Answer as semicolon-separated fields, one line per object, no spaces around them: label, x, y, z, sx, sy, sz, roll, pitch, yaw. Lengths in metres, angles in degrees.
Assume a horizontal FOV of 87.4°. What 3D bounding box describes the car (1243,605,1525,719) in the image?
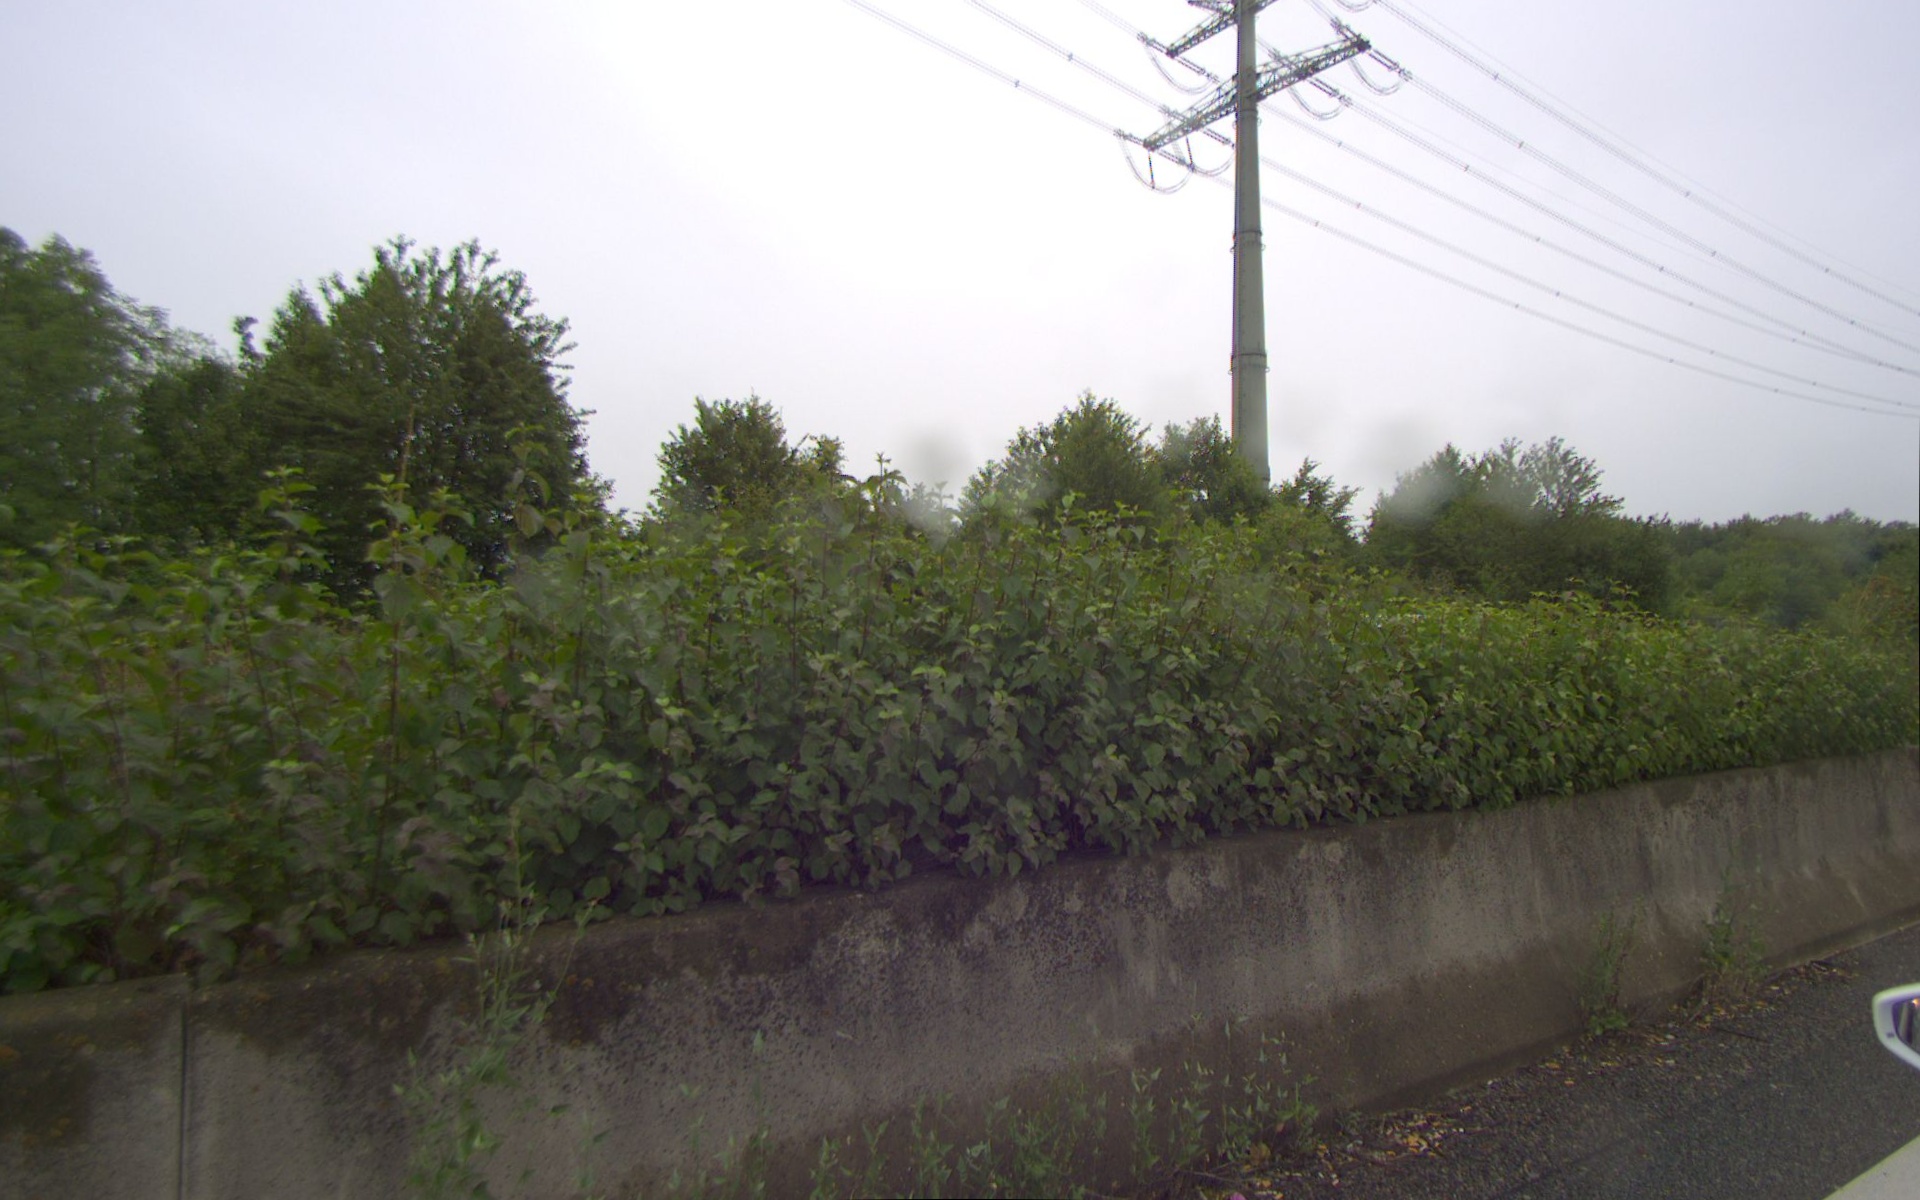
car;7.489;1.014;17.606;5.000;1.749;1.984;1;-1;-30
